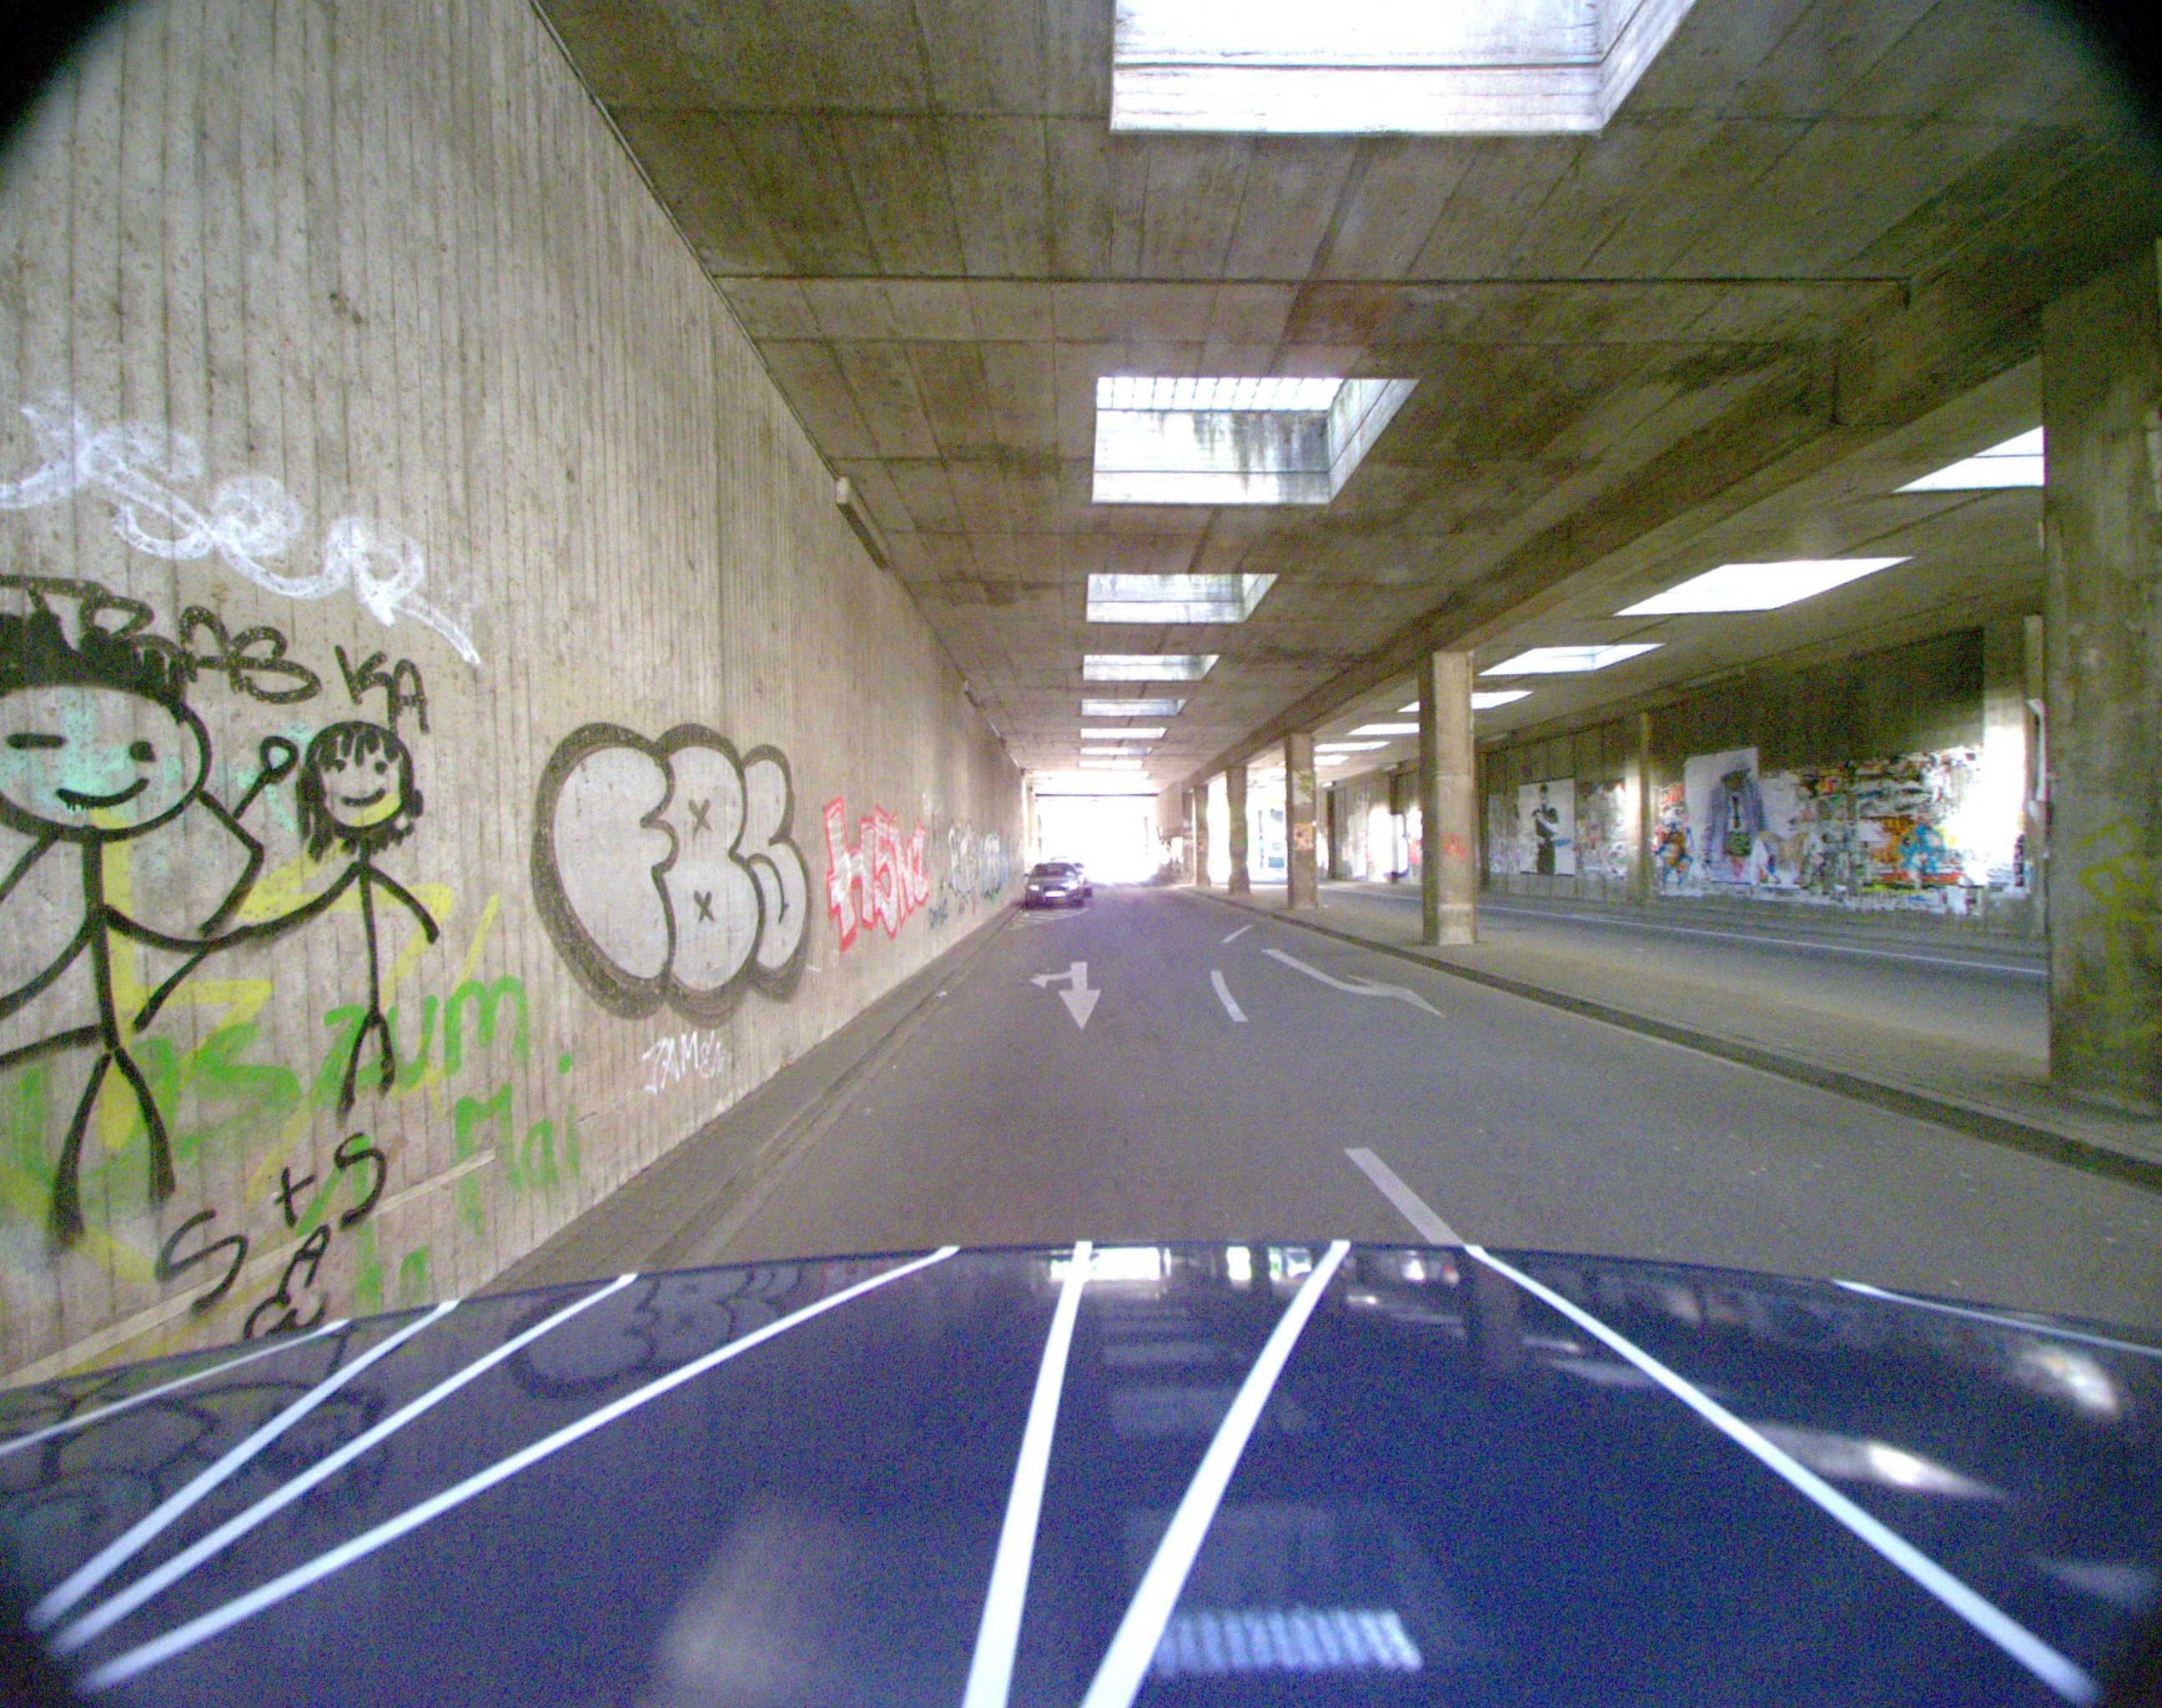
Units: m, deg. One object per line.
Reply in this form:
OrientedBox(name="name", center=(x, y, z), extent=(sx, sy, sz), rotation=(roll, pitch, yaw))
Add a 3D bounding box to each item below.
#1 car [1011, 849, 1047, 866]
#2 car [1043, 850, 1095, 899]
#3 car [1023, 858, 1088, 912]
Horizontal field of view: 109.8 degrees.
OrientedBox(name="car", center=(-5.734, 0.371, 84.117), extent=(3.998, 1.841, 1.811), rotation=(-1, 0, -3))
OrientedBox(name="car", center=(-0.422, 0.743, 29.839), extent=(1.861, 1.709, 4.000), rotation=(-2, 0, 1))
OrientedBox(name="car", center=(-0.728, 0.912, 24.076), extent=(1.808, 1.460, 4.000), rotation=(-2, 0, 1))
